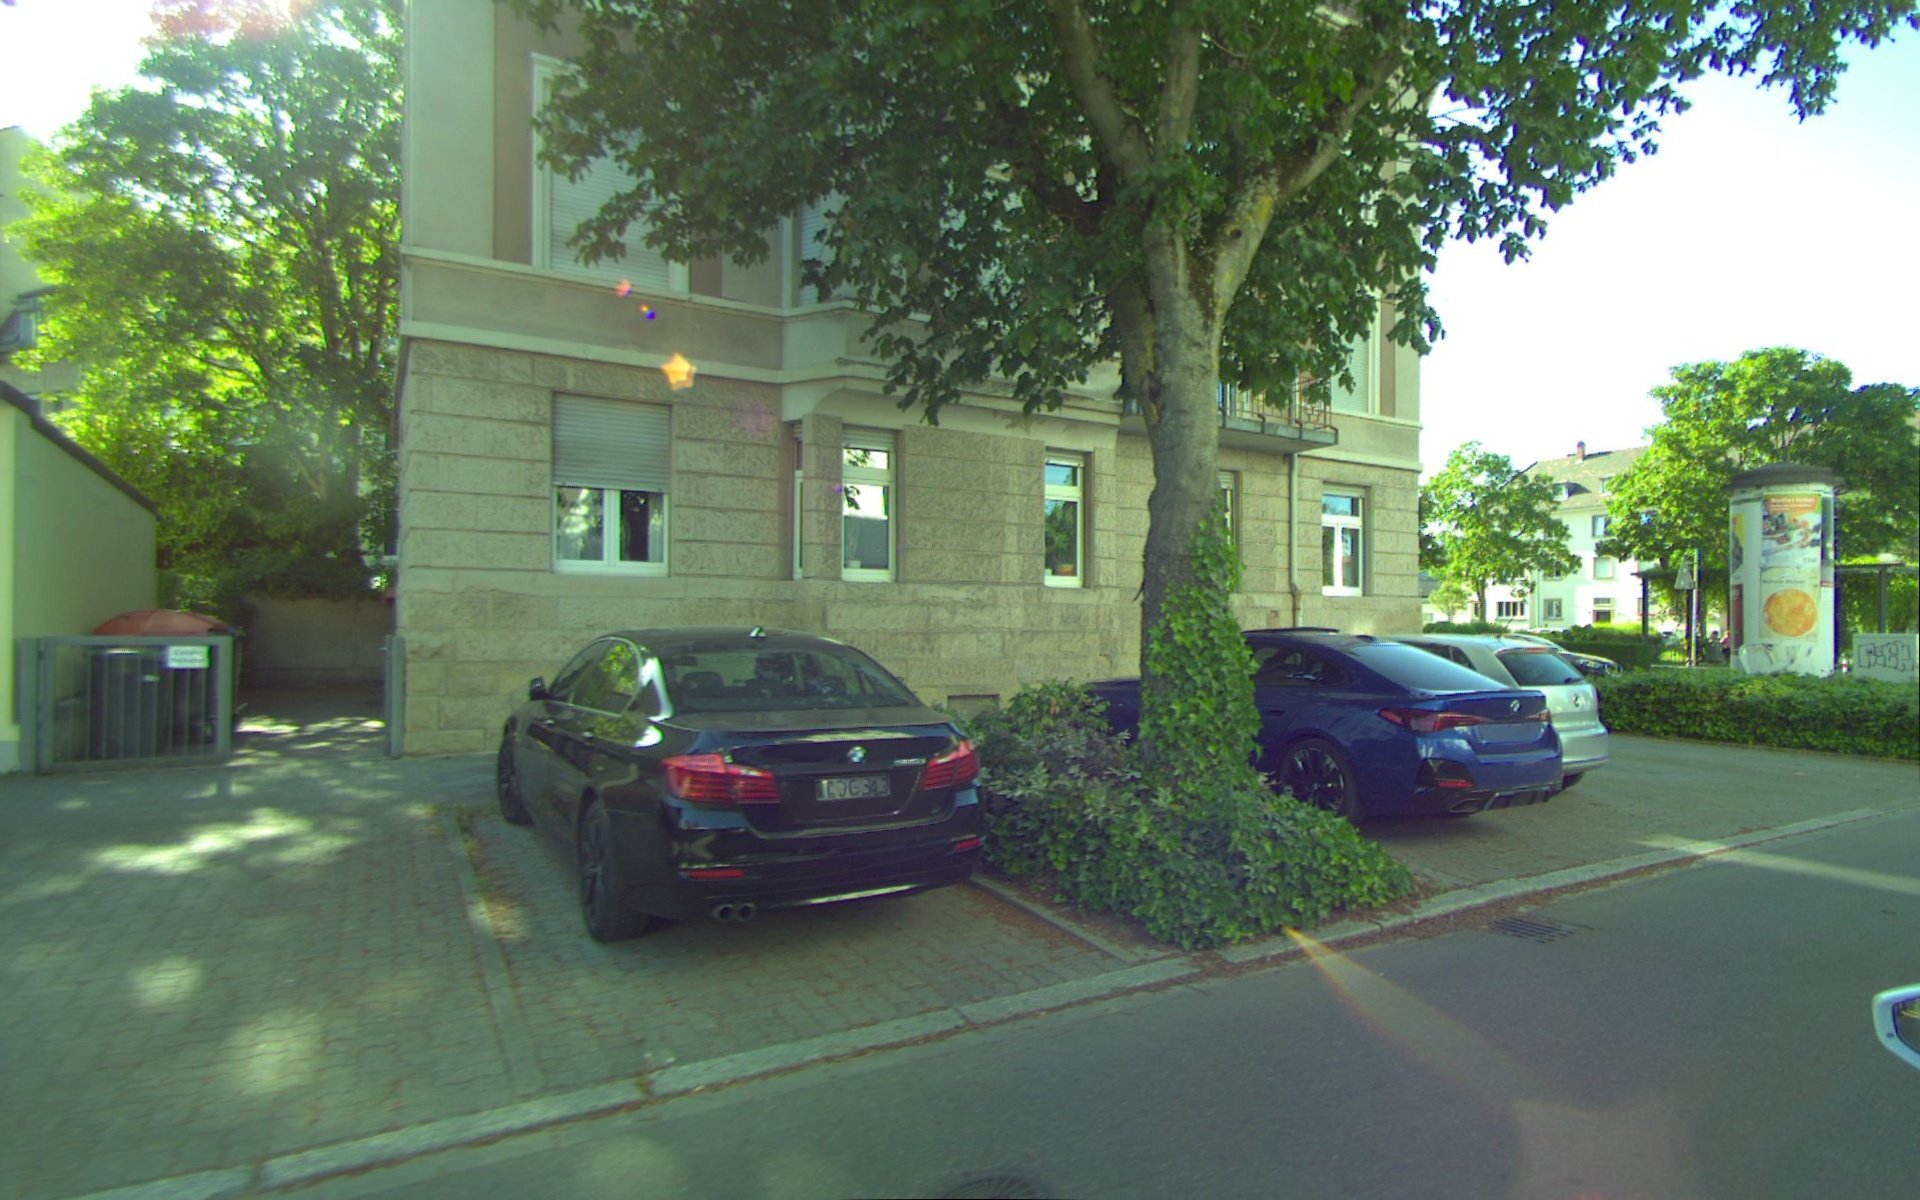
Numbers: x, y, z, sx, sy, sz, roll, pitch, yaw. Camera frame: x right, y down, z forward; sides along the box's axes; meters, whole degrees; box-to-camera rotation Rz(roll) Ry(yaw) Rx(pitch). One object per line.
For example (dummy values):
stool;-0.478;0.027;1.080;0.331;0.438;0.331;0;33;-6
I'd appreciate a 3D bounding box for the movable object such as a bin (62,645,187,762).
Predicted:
movable object such as a bin;-8.313;1.013;10.031;0.822;1.071;0.669;2;0;-30

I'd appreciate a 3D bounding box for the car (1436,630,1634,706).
car;15.053;1.744;26.514;1.789;1.501;4.120;15;-8;-28

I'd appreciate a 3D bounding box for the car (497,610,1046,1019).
car;-1.548;0.868;6.215;1.848;1.498;4.450;2;-1;-32

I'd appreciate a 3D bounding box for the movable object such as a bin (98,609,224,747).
movable object such as a bin;-8.671;0.831;10.943;0.937;1.416;0.669;2;0;-30

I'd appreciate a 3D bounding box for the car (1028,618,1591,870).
car;2.646;0.976;8.727;1.848;1.498;4.450;2;-1;-32

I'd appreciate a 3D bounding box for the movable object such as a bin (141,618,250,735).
movable object such as a bin;-9.310;0.913;12.269;0.937;1.346;0.669;2;0;-30

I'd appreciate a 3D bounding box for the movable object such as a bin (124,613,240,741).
movable object such as a bin;-8.977;0.872;11.626;0.937;1.399;0.669;2;0;-30

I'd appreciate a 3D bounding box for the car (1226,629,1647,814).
car;4.644;1.057;10.264;1.710;1.449;3.562;1;-1;-30
